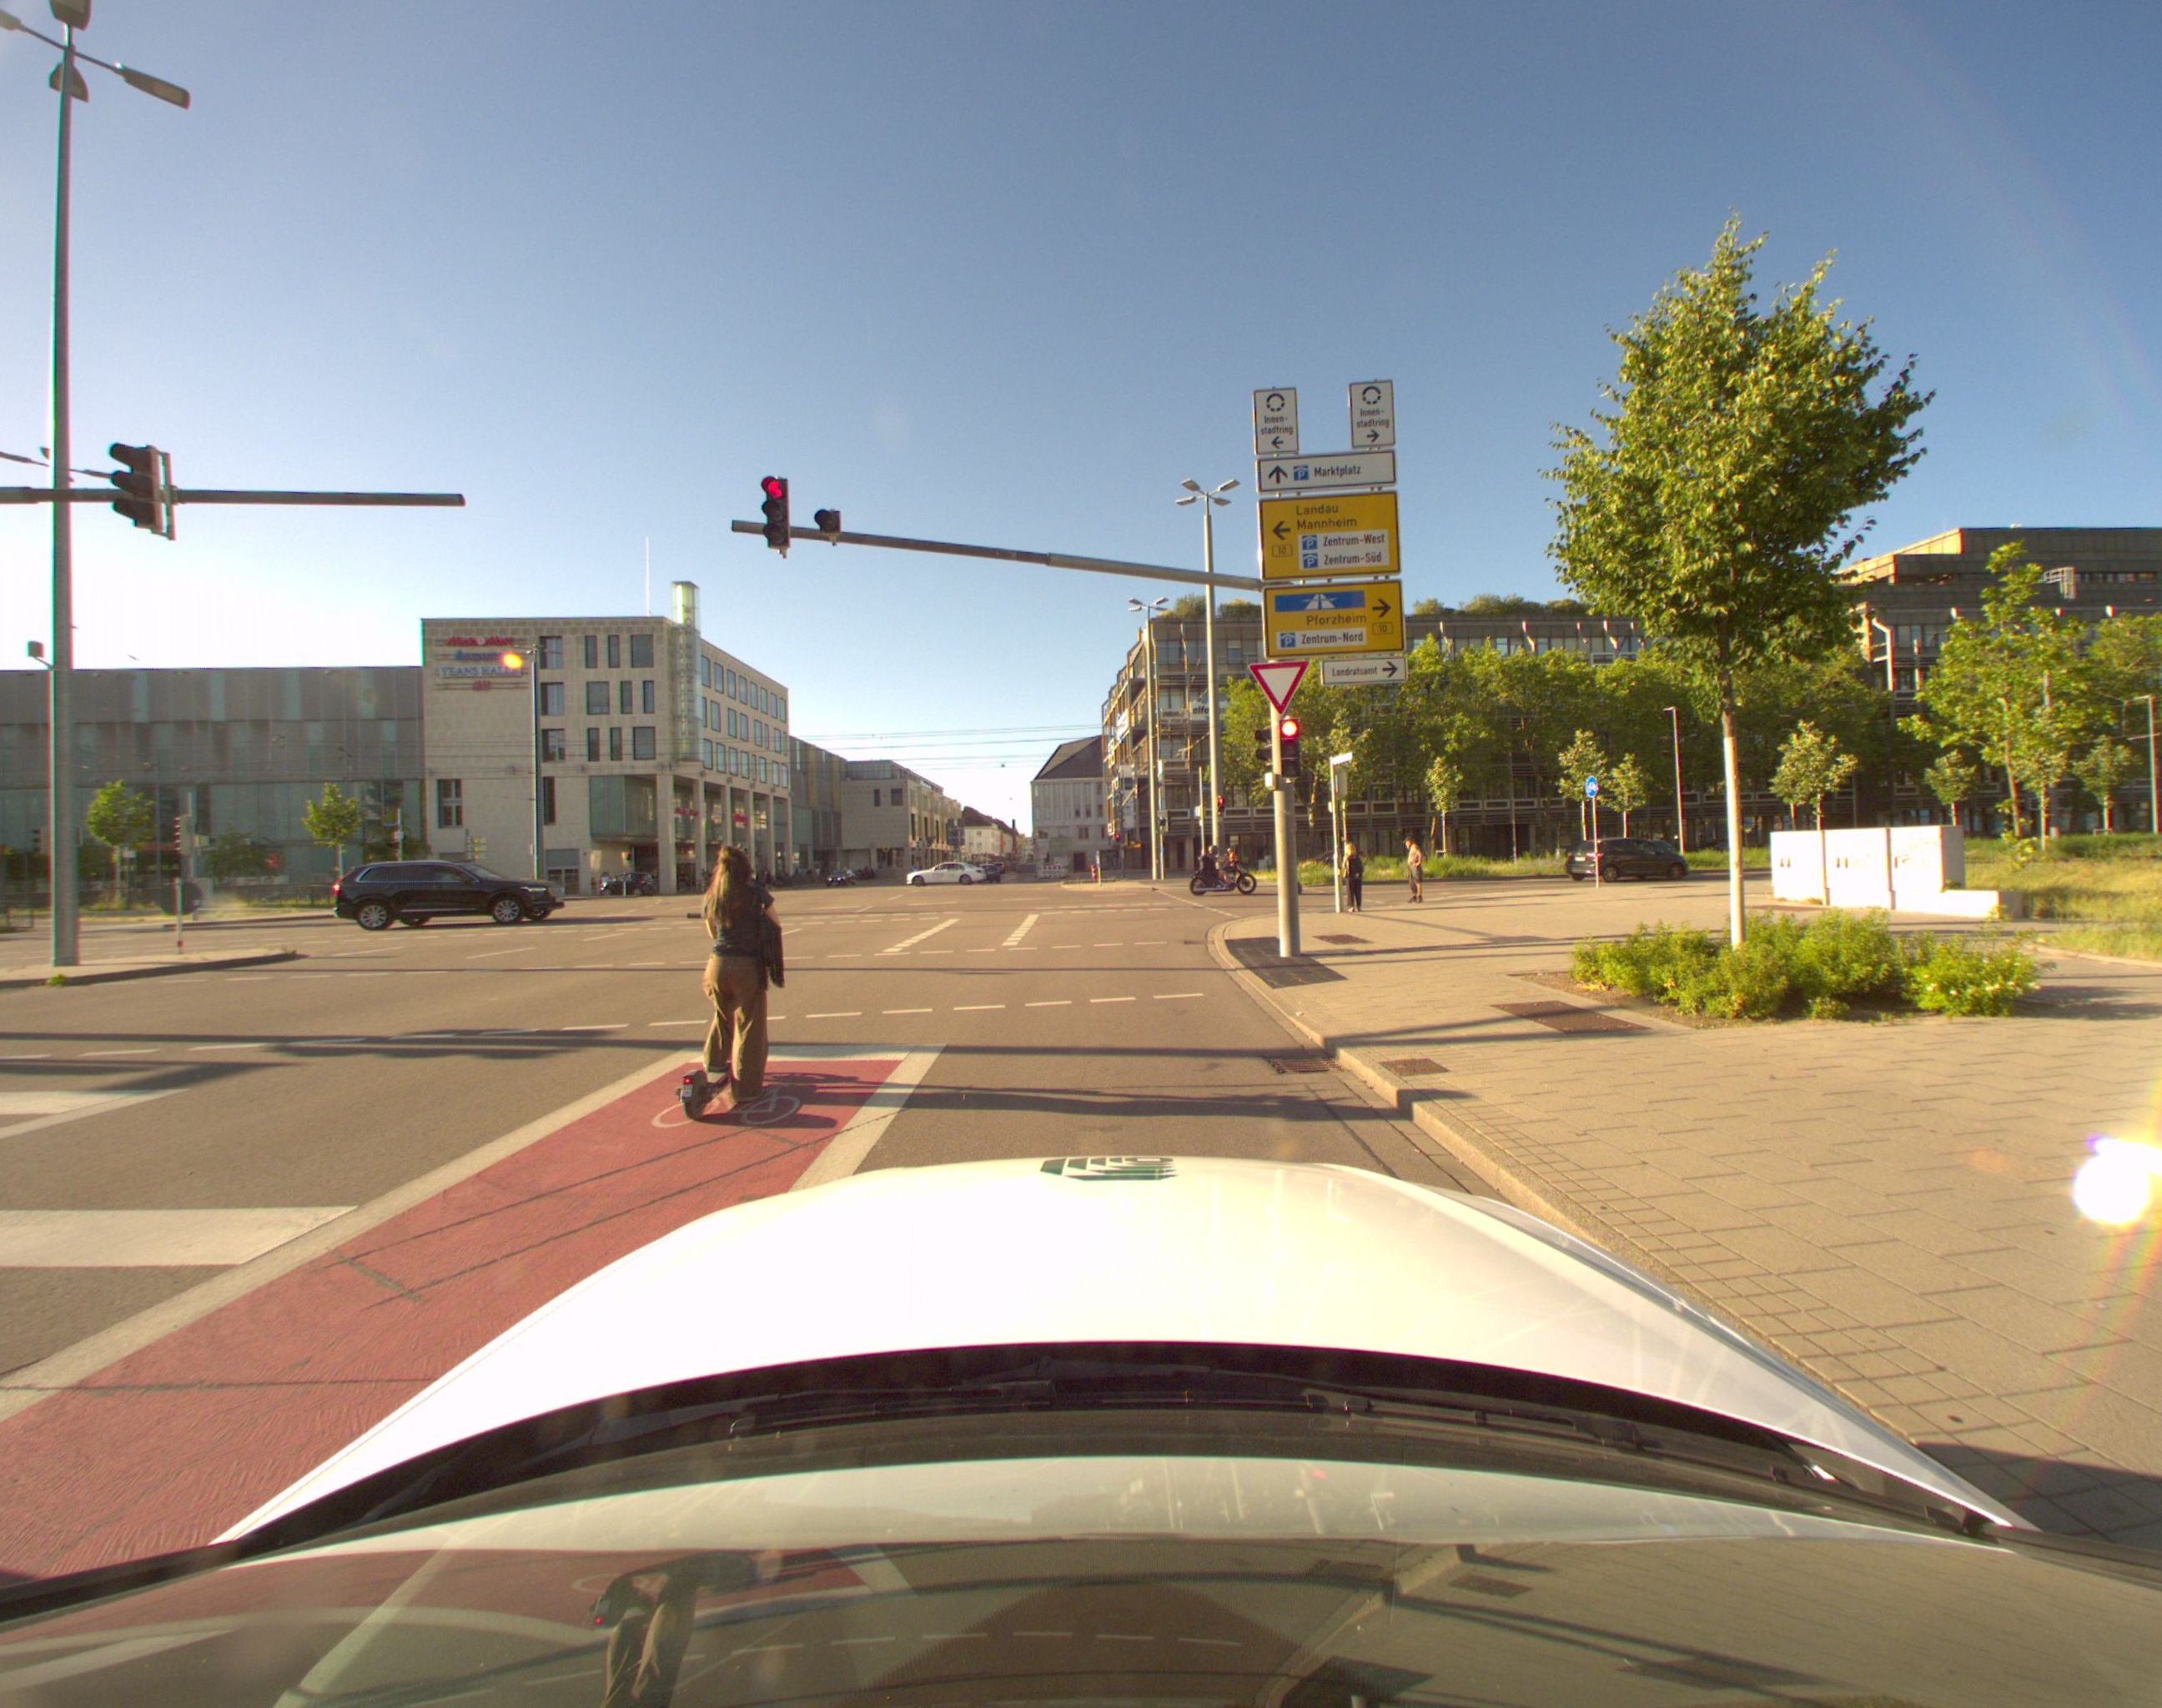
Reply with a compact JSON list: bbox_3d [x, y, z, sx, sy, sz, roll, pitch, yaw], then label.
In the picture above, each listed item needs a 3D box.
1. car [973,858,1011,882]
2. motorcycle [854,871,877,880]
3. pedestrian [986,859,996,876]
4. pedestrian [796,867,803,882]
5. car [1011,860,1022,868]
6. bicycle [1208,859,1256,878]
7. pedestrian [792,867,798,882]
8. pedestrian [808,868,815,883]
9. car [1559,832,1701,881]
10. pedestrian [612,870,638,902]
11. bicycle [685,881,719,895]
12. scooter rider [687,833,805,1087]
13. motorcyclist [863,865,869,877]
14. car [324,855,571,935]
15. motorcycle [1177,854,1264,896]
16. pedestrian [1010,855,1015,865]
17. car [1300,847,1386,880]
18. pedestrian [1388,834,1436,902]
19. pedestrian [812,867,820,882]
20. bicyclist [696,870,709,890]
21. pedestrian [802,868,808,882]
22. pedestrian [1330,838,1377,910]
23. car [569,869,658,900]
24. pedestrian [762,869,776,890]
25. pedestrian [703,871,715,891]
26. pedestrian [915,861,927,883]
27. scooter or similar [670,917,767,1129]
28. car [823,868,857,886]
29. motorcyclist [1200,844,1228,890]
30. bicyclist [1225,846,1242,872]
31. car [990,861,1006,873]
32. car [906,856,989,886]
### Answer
[{"bbox_3d":[-6.800,1.213,61.786,1.826,1.684,3.971,-2,0,-22],"label":"car"},{"bbox_3d":[-26.182,2.622,98.878,2.600,0.993,1.113,0,-1,-8],"label":"motorcycle"},{"bbox_3d":[-9.824,1.480,88.993,0.896,1.782,0.809,-2,0,1],"label":"pedestrian"},{"bbox_3d":[-31.339,2.272,90.674,0.465,1.729,0.632,-1,-1,35],"label":"pedestrian"},{"bbox_3d":[-11.573,1.809,146.477,1.652,1.458,3.543,-2,0,2],"label":"car"},{"bbox_3d":[8.694,0.821,47.055,2.561,0.975,1.047,-2,0,-1],"label":"bicycle"},{"bbox_3d":[-32.871,2.349,93.609,0.465,1.729,0.524,-1,-1,40],"label":"pedestrian"},{"bbox_3d":[-31.007,2.488,93.656,0.465,1.729,0.632,-1,-1,30],"label":"pedestrian"},{"bbox_3d":[18.862,0.088,28.056,3.855,1.510,1.669,-2,0,-6],"label":"car"},{"bbox_3d":[-25.132,1.764,44.909,0.821,1.675,1.004,-2,0,-2],"label":"pedestrian"},{"bbox_3d":[-27.871,2.516,59.944,0.629,0.903,2.232,-2,0,38],"label":"bicycle"},{"bbox_3d":[-2.126,0.647,5.214,0.552,1.530,0.448,-2,0,-7],"label":"scooter rider"},{"bbox_3d":[-26.166,2.103,99.100,0.627,1.406,0.661,0,-1,-7],"label":"motorcyclist"},{"bbox_3d":[-16.790,1.039,21.854,4.820,1.864,1.878,-2,0,-12],"label":"car"},{"bbox_3d":[4.416,0.647,25.744,2.594,1.208,0.728,-2,1,-9],"label":"motorcycle"},{"bbox_3d":[-13.905,1.188,165.261,0.907,1.965,0.823,0,-1,1],"label":"pedestrian"},{"bbox_3d":[14.846,0.520,46.264,4.287,1.684,1.820,-2,0,-9],"label":"car"},{"bbox_3d":[8.547,0.362,21.050,0.869,1.706,0.768,-2,0,0],"label":"pedestrian"},{"bbox_3d":[-29.826,2.309,91.514,0.465,1.729,0.699,-1,-1,40],"label":"pedestrian"},{"bbox_3d":[-27.871,1.887,59.967,0.620,1.448,0.592,-2,0,38],"label":"bicyclist"},{"bbox_3d":[-31.796,2.426,93.765,0.465,1.683,0.524,-1,-1,40],"label":"pedestrian"},{"bbox_3d":[6.348,0.452,19.011,0.763,1.614,0.874,-2,0,0],"label":"pedestrian"},{"bbox_3d":[-28.995,1.876,50.605,4.392,1.684,1.824,-2,0,-2],"label":"car"},{"bbox_3d":[-24.401,1.997,63.631,0.773,1.638,0.627,-2,0,4],"label":"pedestrian"},{"bbox_3d":[-30.197,2.183,66.115,0.590,1.646,0.629,-2,0,1],"label":"pedestrian"},{"bbox_3d":[-12.480,1.414,63.541,0.697,1.688,0.620,-2,0,2],"label":"pedestrian"},{"bbox_3d":[-2.182,0.972,4.961,0.306,1.107,0.835,-2,0,-9],"label":"scooter or similar"},{"bbox_3d":[-20.819,1.973,70.466,1.670,1.357,4.021,-2,0,1],"label":"car"},{"bbox_3d":[4.195,0.404,25.715,0.656,1.423,0.646,-2,1,-8],"label":"motorcyclist"},{"bbox_3d":[8.827,0.308,47.071,0.820,1.474,0.652,-2,0,-2],"label":"bicyclist"},{"bbox_3d":[-11.019,1.749,108.527,1.652,1.458,3.543,-2,0,2],"label":"car"},{"bbox_3d":[-8.333,1.073,51.215,4.827,1.684,1.826,-2,0,1],"label":"car"}]
